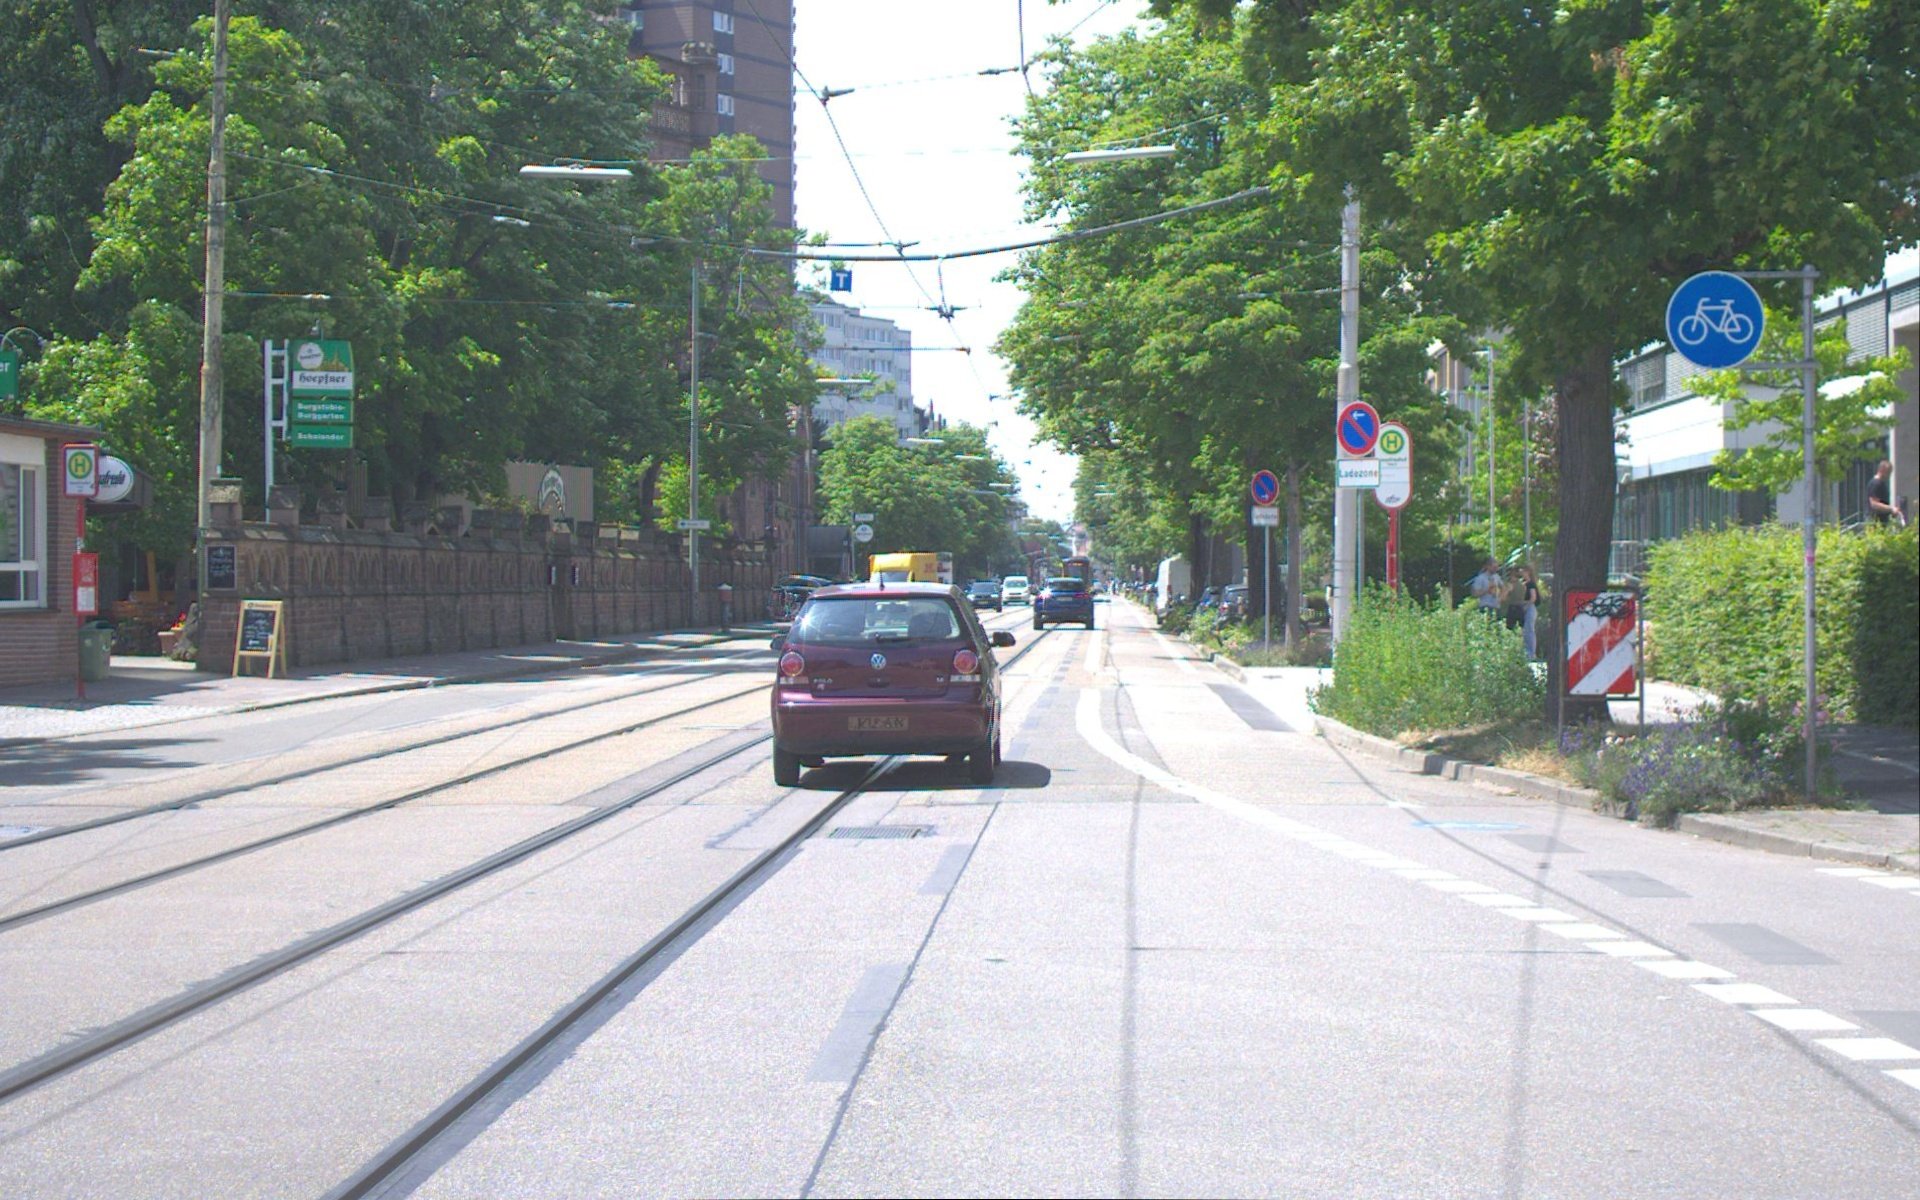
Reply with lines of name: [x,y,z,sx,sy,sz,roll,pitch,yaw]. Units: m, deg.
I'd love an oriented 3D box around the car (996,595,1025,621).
car: [3.593,0.553,243.721,1.994,1.848,4.681,0,0,2]

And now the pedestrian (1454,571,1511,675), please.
pedestrian: [9.164,0.406,60.334,0.677,1.790,0.675,-1,0,-29]

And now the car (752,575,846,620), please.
car: [-7.332,-0.113,156.580,3.988,2.007,1.999,0,0,7]

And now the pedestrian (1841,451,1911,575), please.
pedestrian: [12.955,-1.219,48.609,0.874,1.709,1.088,-2,-1,17]

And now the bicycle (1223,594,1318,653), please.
bicycle: [6.354,0.487,70.390,1.883,1.178,0.694,-1,-1,3]

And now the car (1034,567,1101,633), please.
car: [3.411,-0.022,109.466,1.993,2.007,4.000,1,0,0]

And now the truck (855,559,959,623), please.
truck: [-2.300,-0.385,152.270,2.371,2.777,7.313,0,0,18]

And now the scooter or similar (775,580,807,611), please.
scooter or similar: [-6.370,-0.172,129.513,1.088,1.151,0.527,1,0,-18]

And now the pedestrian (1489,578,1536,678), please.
pedestrian: [9.554,0.479,59.437,0.537,1.709,0.566,-1,-1,-26]

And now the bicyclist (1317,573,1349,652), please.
bicyclist: [8.624,0.292,79.549,0.696,1.793,0.887,-1,-1,6]

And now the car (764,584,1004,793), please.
car: [-0.515,0.622,26.364,1.619,1.481,4.000,0,0,2]

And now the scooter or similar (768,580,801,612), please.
scooter or similar: [-6.463,-0.163,126.857,1.088,1.151,0.527,1,0,-18]

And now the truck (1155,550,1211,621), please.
truck: [8.549,-0.559,132.067,1.994,2.653,4.875,1,0,2]

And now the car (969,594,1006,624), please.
car: [1.411,0.449,175.953,1.771,1.510,4.000,0,0,3]

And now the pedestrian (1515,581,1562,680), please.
pedestrian: [10.094,0.541,59.960,0.537,1.709,0.566,-1,-1,-26]

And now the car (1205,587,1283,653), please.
car: [6.801,0.474,82.632,1.688,1.498,3.627,-1,0,2]

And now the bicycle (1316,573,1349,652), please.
bicycle: [8.613,0.296,79.560,0.690,1.779,1.810,-1,-1,6]
